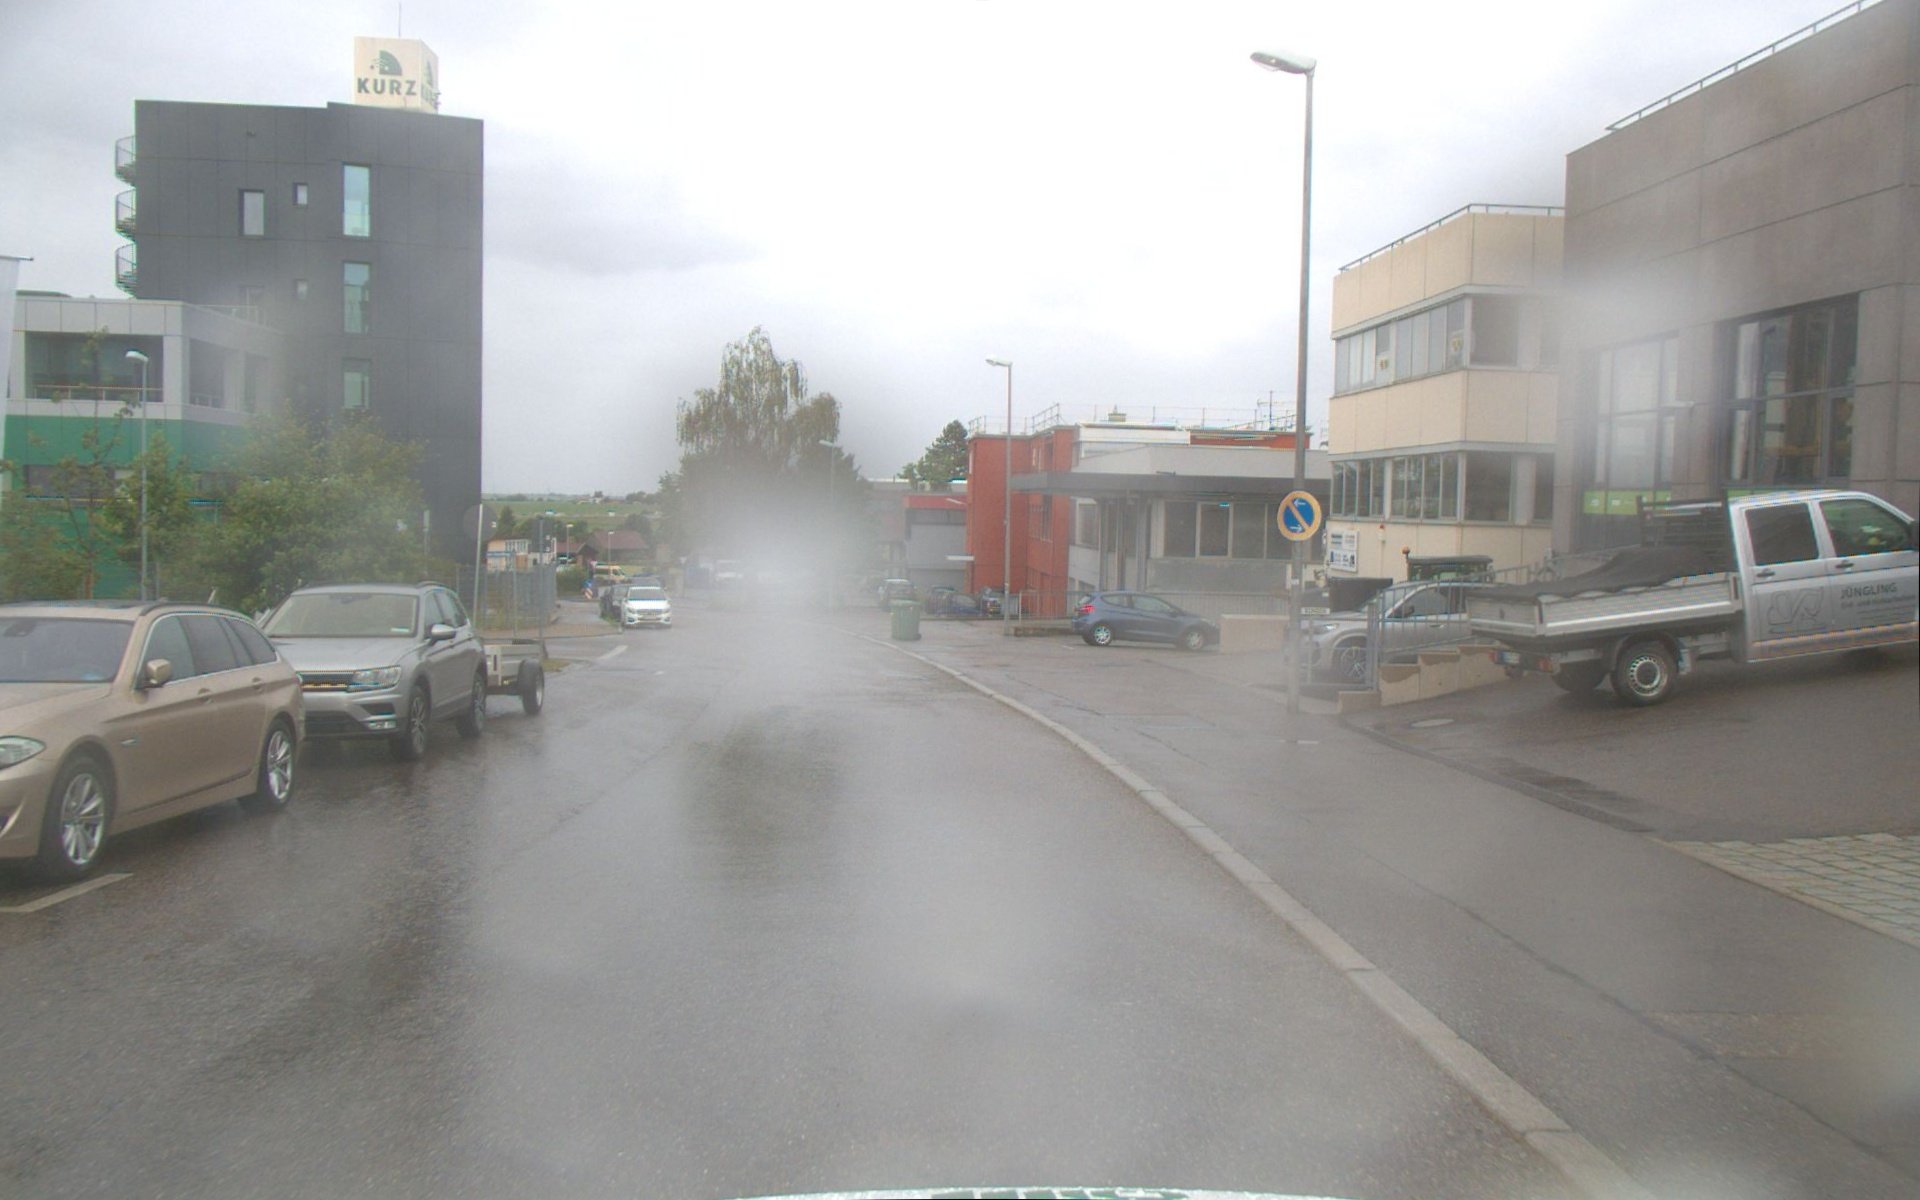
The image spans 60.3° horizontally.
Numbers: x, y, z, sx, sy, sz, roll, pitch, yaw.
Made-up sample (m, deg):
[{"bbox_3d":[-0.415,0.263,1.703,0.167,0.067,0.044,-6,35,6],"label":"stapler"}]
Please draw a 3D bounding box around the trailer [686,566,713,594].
[{"bbox_3d":[-19.765,-1.521,125.425,1.820,2.049,3.989,0,0,-12],"label":"trailer"}]

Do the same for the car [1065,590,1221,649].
[{"bbox_3d":[4.826,0.517,43.939,3.819,1.408,1.819,2,-1,-5],"label":"car"}]

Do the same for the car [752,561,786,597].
[{"bbox_3d":[-14.137,-1.531,122.297,2.154,2.502,3.987,0,-1,-12],"label":"car"}]

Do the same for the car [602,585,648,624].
[{"bbox_3d":[-15.159,0.170,74.823,1.673,1.637,3.982,-1,1,-17],"label":"car"}]

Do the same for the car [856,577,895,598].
[{"bbox_3d":[-5.636,-0.828,110.120,2.501,1.375,1.239,0,0,-10],"label":"car"}]

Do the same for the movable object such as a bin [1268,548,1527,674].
[{"bbox_3d":[7.653,0.177,29.134,4.170,2.147,1.476,0,0,-4],"label":"movable object such as a bin"}]

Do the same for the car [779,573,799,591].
[{"bbox_3d":[-13.341,-1.400,128.972,1.373,1.349,2.694,0,-1,-11],"label":"car"}]

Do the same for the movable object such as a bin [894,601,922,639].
[{"bbox_3d":[-1.515,0.595,48.402,0.761,1.094,0.582,0,0,-9],"label":"movable object such as a bin"}]

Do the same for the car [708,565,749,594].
[{"bbox_3d":[-17.047,-1.491,121.627,2.231,2.049,3.977,0,-1,-19],"label":"car"}]

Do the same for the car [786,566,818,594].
[{"bbox_3d":[-11.809,-1.464,123.455,2.107,2.049,3.929,0,-1,-11],"label":"car"}]

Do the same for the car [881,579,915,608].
[{"bbox_3d":[-3.298,-0.308,88.143,1.664,1.501,3.996,0,-1,-4],"label":"car"}]

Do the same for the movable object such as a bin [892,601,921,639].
[{"bbox_3d":[-1.589,0.589,48.971,0.794,1.109,0.540,0,0,-9],"label":"movable object such as a bin"}]

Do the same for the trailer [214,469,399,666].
[{"bbox_3d":[-14.958,-0.702,37.833,4.100,4.276,2.000,0,0,34],"label":"trailer"}]

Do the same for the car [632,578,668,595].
[{"bbox_3d":[-31.125,-1.359,166.035,2.435,1.566,3.958,0,-1,-31],"label":"car"}]

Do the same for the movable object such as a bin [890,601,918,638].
[{"bbox_3d":[-1.677,0.590,49.525,0.794,1.095,0.580,0,0,-9],"label":"movable object such as a bin"}]

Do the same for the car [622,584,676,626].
[{"bbox_3d":[-12.110,0.199,64.264,1.741,1.539,4.127,0,0,-15],"label":"car"}]

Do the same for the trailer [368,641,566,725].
[{"bbox_3d":[-6.144,1.007,21.005,1.647,0.904,3.893,0,-1,-5],"label":"trailer"}]

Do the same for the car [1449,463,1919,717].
[{"bbox_3d":[8.361,-0.174,18.029,5.198,2.047,2.220,-8,0,-4],"label":"car"}]

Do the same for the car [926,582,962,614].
[{"bbox_3d":[-0.890,-0.078,89.008,1.705,1.682,3.996,0,-1,-4],"label":"car"}]

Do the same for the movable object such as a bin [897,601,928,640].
[{"bbox_3d":[-1.373,0.594,47.764,0.791,1.112,0.708,0,0,-9],"label":"movable object such as a bin"}]

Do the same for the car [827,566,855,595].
[{"bbox_3d":[-8.939,-1.453,124.028,1.749,2.049,3.623,0,-1,-11],"label":"car"}]

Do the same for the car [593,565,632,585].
[{"bbox_3d":[-41.841,-3.012,199.229,4.152,2.265,2.000,0,-1,2],"label":"car"}]

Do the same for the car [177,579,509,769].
[{"bbox_3d":[-5.952,0.653,16.632,1.919,1.604,4.834,0,0,-5],"label":"car"}]

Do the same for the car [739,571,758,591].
[{"bbox_3d":[-16.350,-1.449,127.729,1.267,1.449,2.540,0,-1,-11],"label":"car"}]

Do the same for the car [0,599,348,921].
[{"bbox_3d":[-5.580,0.746,10.269,1.917,1.487,5.243,0,0,-4],"label":"car"}]

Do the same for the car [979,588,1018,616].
[{"bbox_3d":[2.041,0.101,88.274,1.695,1.446,3.996,0,-1,-4],"label":"car"}]

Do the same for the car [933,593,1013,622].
[{"bbox_3d":[0.537,0.325,70.571,3.332,1.183,1.791,1,0,-3],"label":"car"}]

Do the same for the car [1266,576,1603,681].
[{"bbox_3d":[7.750,0.431,27.272,4.992,1.642,1.923,0,1,-5],"label":"car"}]

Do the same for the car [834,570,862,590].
[{"bbox_3d":[-8.814,-1.572,129.943,1.609,1.479,3.499,0,-1,-14],"label":"car"}]
